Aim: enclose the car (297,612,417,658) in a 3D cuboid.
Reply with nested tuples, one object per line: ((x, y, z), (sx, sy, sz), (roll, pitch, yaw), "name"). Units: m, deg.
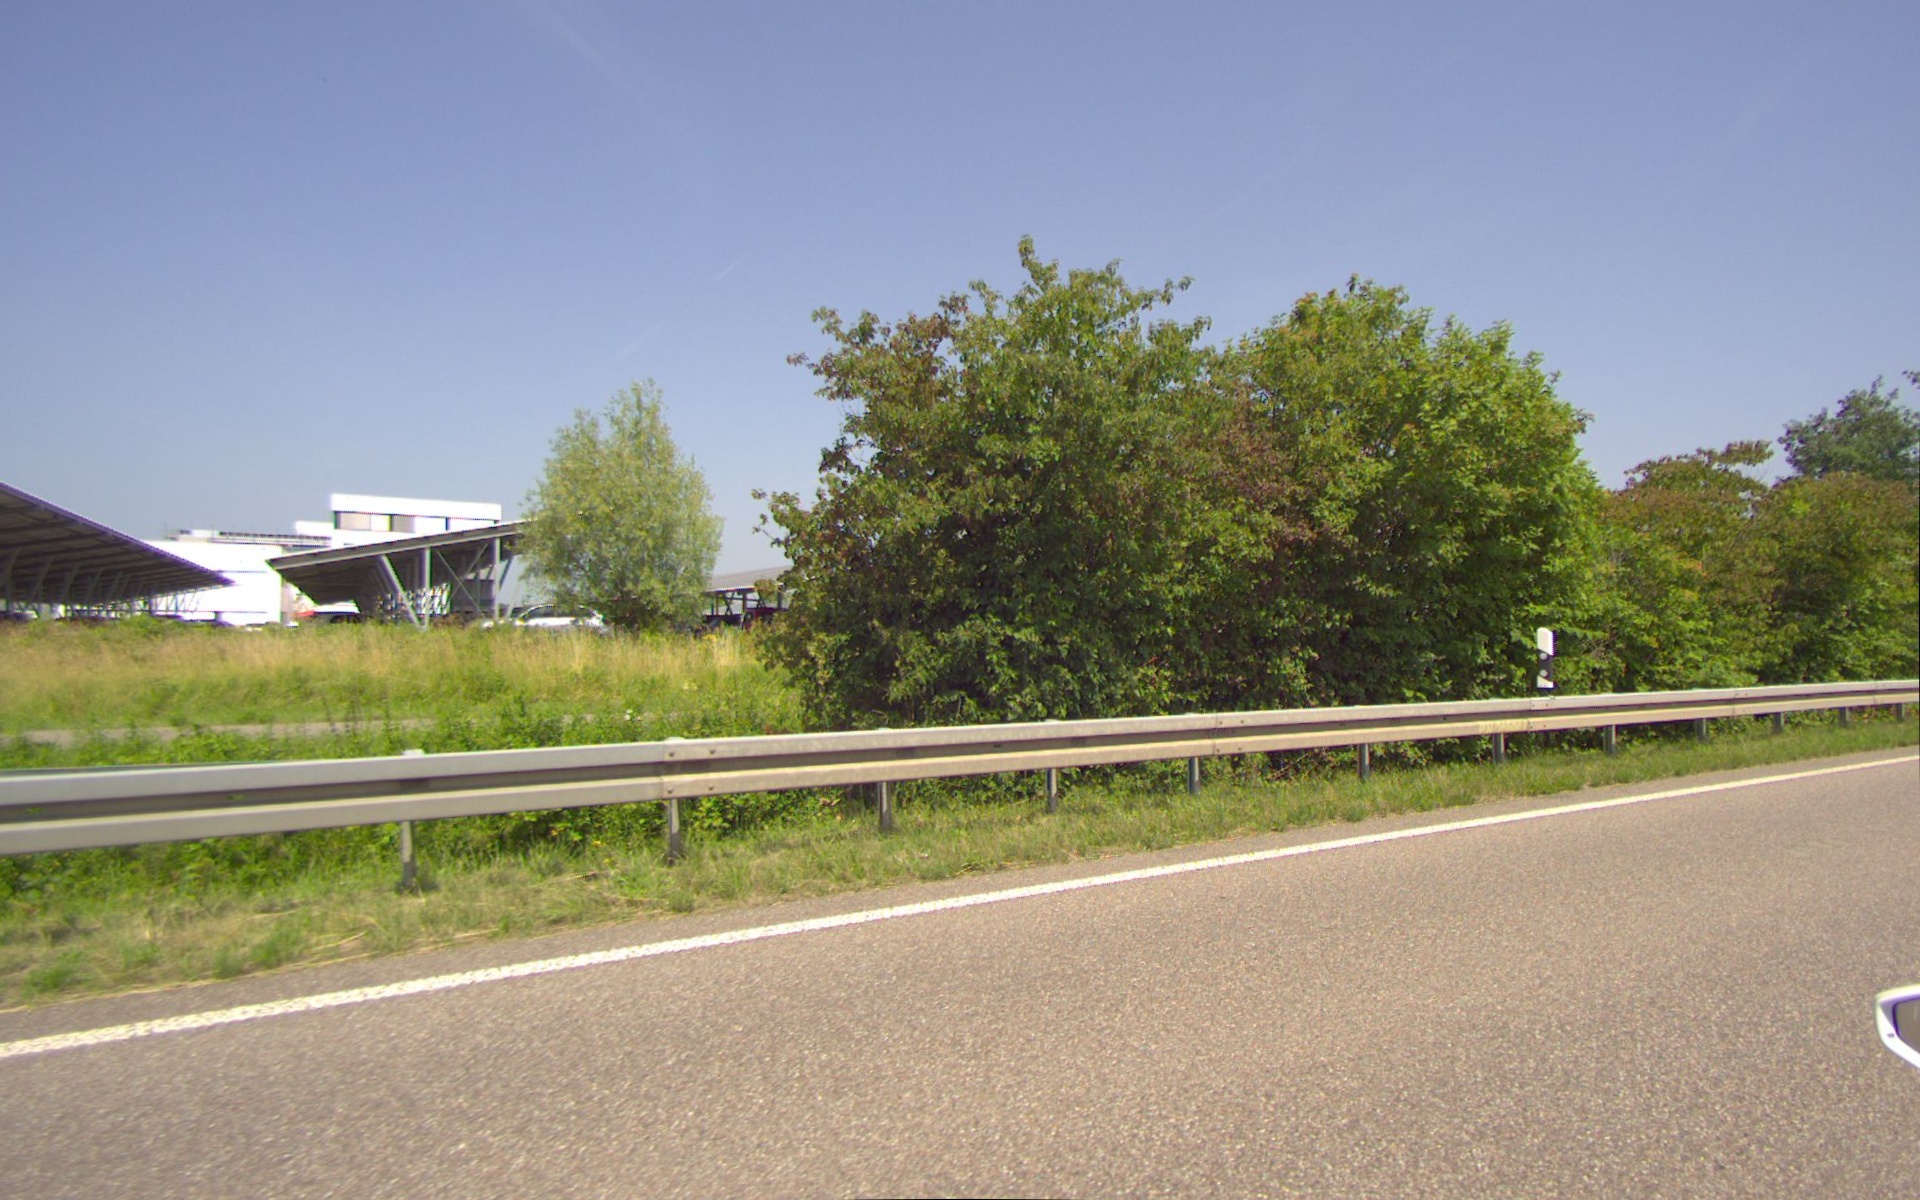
((-25.356, 1.442, 42.410), (4.212, 1.828, 1.984), (1, 0, -30), "car")

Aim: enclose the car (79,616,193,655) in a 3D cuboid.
((-41.067, 1.773, 50.186), (4.219, 1.828, 1.981), (1, 0, -35), "car")

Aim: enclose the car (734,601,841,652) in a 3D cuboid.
((-7.164, 1.091, 41.816), (3.961, 2.040, 1.980), (1, -1, -36), "car")

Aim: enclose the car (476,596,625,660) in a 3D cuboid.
((-13.838, 0.938, 34.002), (4.463, 2.040, 1.984), (1, -1, -30), "car")

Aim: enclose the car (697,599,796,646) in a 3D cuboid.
((-9.724, 1.032, 45.778), (3.961, 2.040, 1.980), (1, -1, -36), "car")

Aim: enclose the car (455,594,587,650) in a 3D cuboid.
((-16.834, 0.868, 38.557), (4.463, 2.040, 1.984), (1, -1, -30), "car")

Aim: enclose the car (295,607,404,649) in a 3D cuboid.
((-28.264, 1.289, 46.654), (4.212, 1.828, 1.984), (1, 0, -30), "car")
